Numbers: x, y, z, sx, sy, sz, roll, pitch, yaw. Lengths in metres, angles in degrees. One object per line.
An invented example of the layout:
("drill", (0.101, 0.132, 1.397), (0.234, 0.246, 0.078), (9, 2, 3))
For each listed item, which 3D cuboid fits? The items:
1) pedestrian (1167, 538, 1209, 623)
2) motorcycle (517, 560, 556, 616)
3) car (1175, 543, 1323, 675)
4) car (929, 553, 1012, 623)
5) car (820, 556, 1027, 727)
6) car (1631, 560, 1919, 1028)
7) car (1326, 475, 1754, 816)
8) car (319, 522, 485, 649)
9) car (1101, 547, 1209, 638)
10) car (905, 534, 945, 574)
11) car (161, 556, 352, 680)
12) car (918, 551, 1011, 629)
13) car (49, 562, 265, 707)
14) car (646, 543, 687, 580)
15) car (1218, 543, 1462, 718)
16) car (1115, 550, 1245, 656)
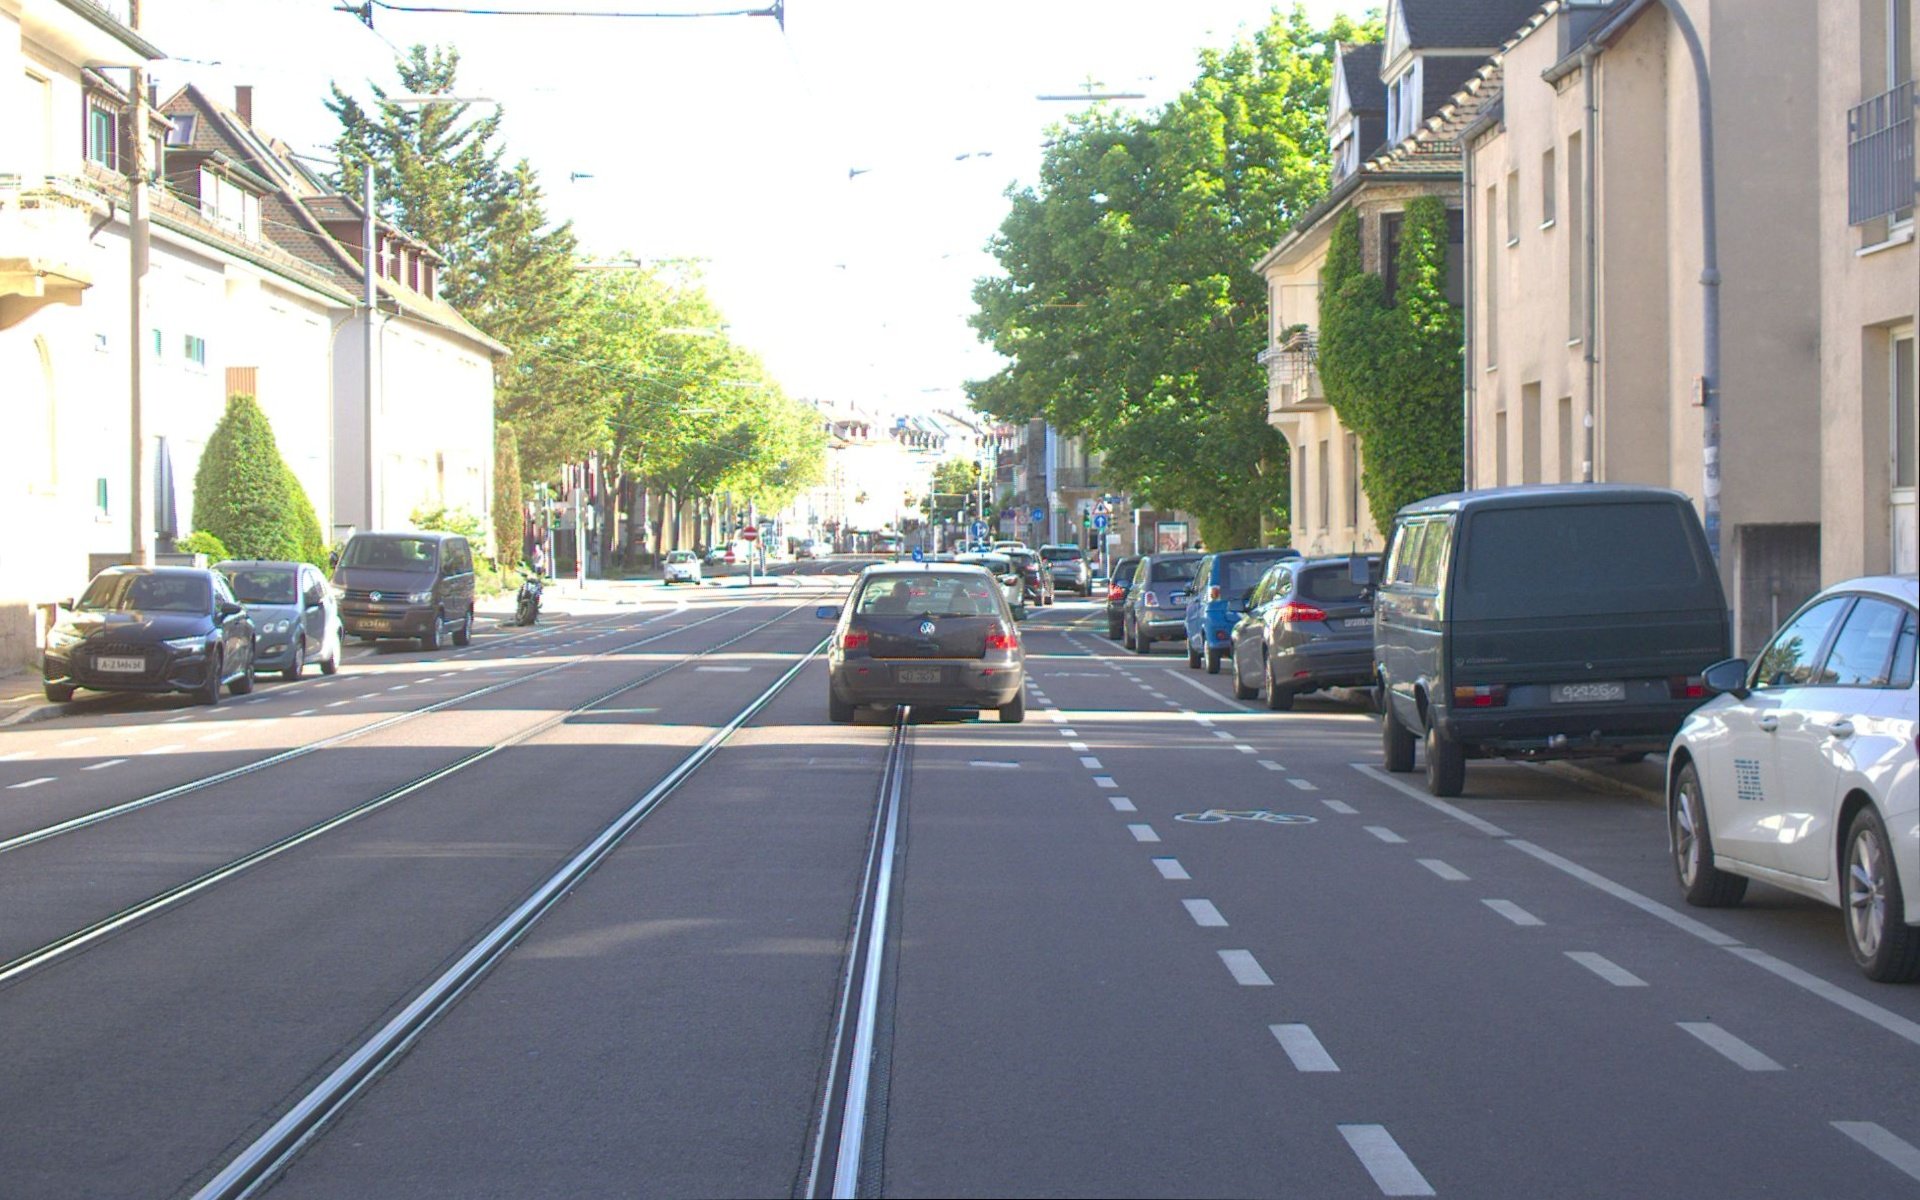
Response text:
("pedestrian", (4.572, -0.397, 69.050), (0.717, 1.682, 0.870), (-1, 1, -2))
("motorcycle", (-9.091, -0.262, 73.790), (0.536, 1.158, 2.172), (-2, 1, 0))
("car", (3.678, 0.079, 44.197), (1.457, 1.593, 3.294), (1, 1, -2))
("car", (0.205, -0.268, 73.618), (1.740, 1.436, 3.810), (0, 1, 0))
("car", (-0.322, 0.327, 31.067), (1.716, 1.398, 4.006), (1, 1, 0))
("car", (3.889, 0.624, 13.215), (1.677, 1.486, 4.173), (1, 1, -1))
("car", (3.684, 0.229, 22.686), (1.905, 1.980, 4.563), (1, 1, -1))
("car", (-9.396, -0.278, 58.272), (1.906, 2.007, 4.949), (1, 1, 1))
("car", (3.462, -0.150, 61.496), (1.665, 1.558, 3.771), (1, 1, 0))
("car", (-1.723, -2.234, 167.029), (1.787, 1.853, 4.001), (2, 1, -2))
("car", (-9.025, 0.200, 44.363), (1.676, 1.472, 3.835), (1, 1, 0))
("car", (0.089, -0.203, 63.039), (1.634, 1.367, 3.757), (-1, 1, 0))
("car", (-8.738, 0.333, 37.723), (1.662, 1.472, 4.251), (0, 1, -4))
("car", (-12.235, -1.613, 143.295), (1.575, 1.472, 3.441), (-1, 1, -6))
("car", (3.725, 0.247, 34.404), (1.744, 1.593, 4.434), (1, 1, -2))
("car", (3.347, 0.016, 52.778), (1.601, 1.520, 3.550), (1, 1, -2))
